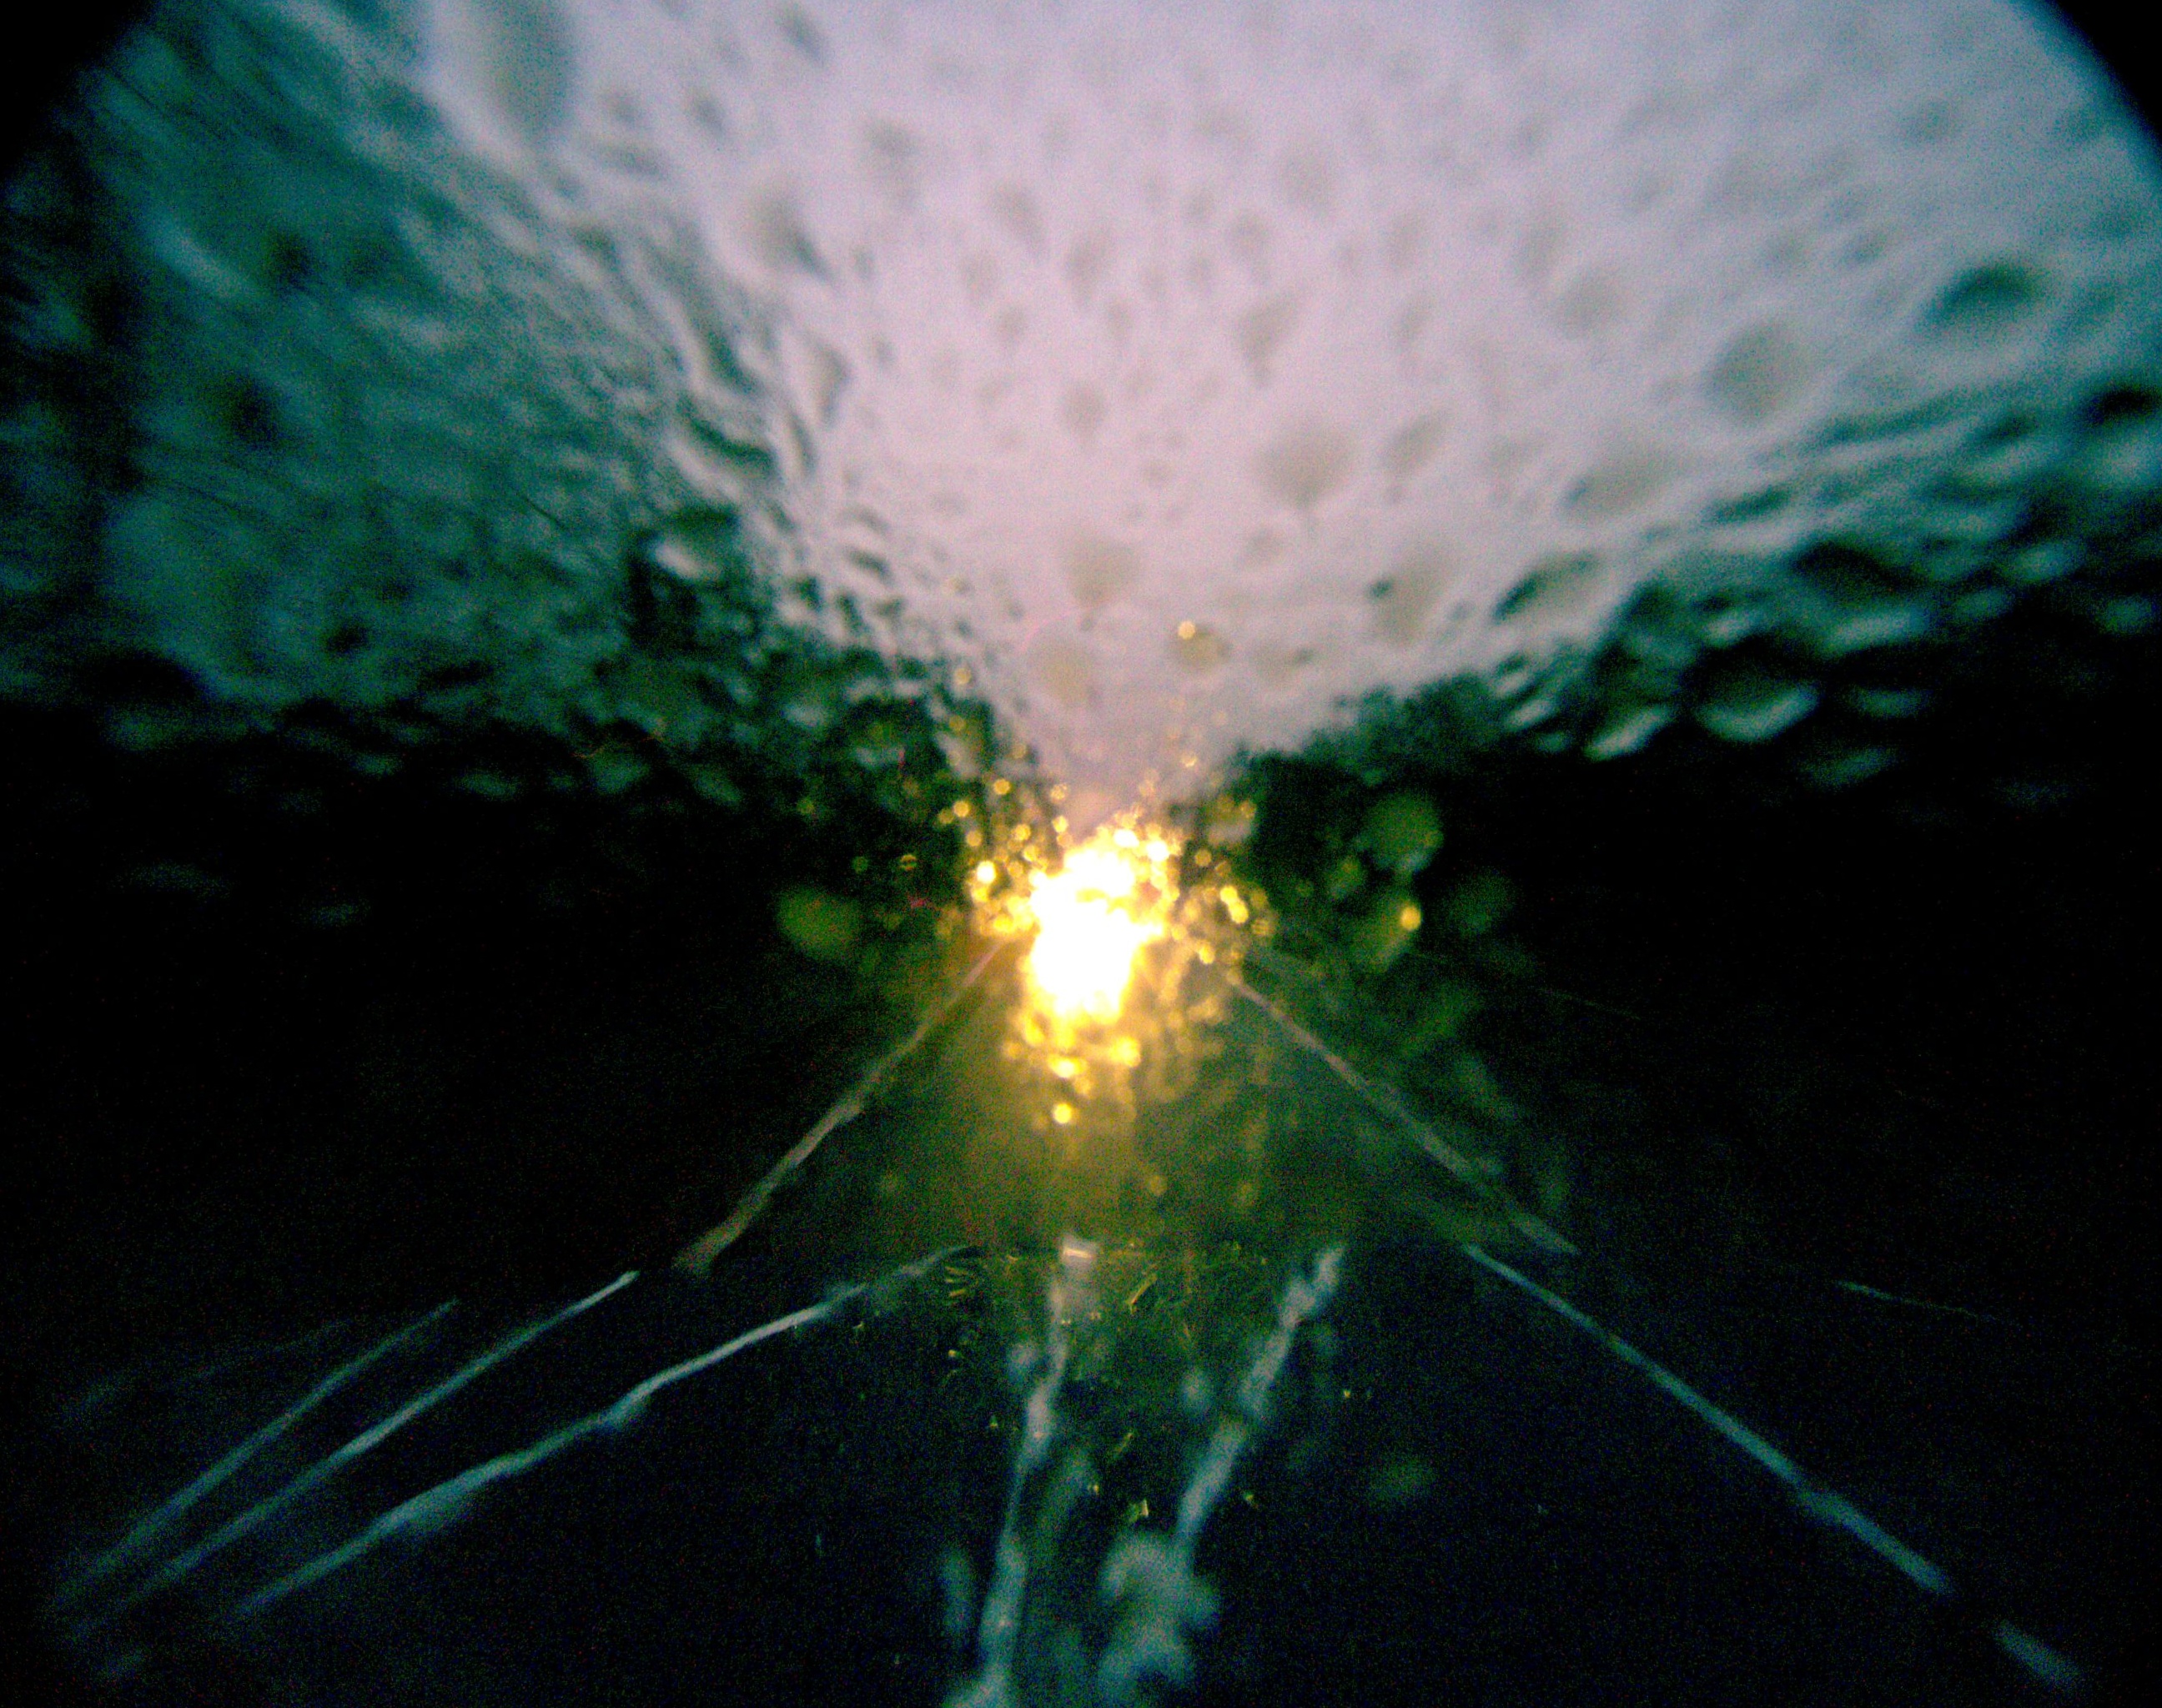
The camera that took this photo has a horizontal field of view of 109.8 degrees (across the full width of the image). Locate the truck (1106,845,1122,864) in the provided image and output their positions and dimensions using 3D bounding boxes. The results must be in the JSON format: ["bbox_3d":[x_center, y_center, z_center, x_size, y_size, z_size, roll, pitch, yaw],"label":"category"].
[{"bbox_3d":[5.055,0.135,116.441,2.108,2.755,6.871,-2,0,1],"label":"truck"}]

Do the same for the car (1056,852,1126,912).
[{"bbox_3d":[0.303,0.825,24.254,1.998,1.672,4.000,-2,0,0],"label":"car"}]

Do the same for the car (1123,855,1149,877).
[{"bbox_3d":[4.215,0.931,58.366,1.698,1.551,4.129,-2,-1,1],"label":"car"}]

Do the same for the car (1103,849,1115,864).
[{"bbox_3d":[5.571,0.475,153.285,2.079,2.794,6.652,-2,0,1],"label":"car"}]
